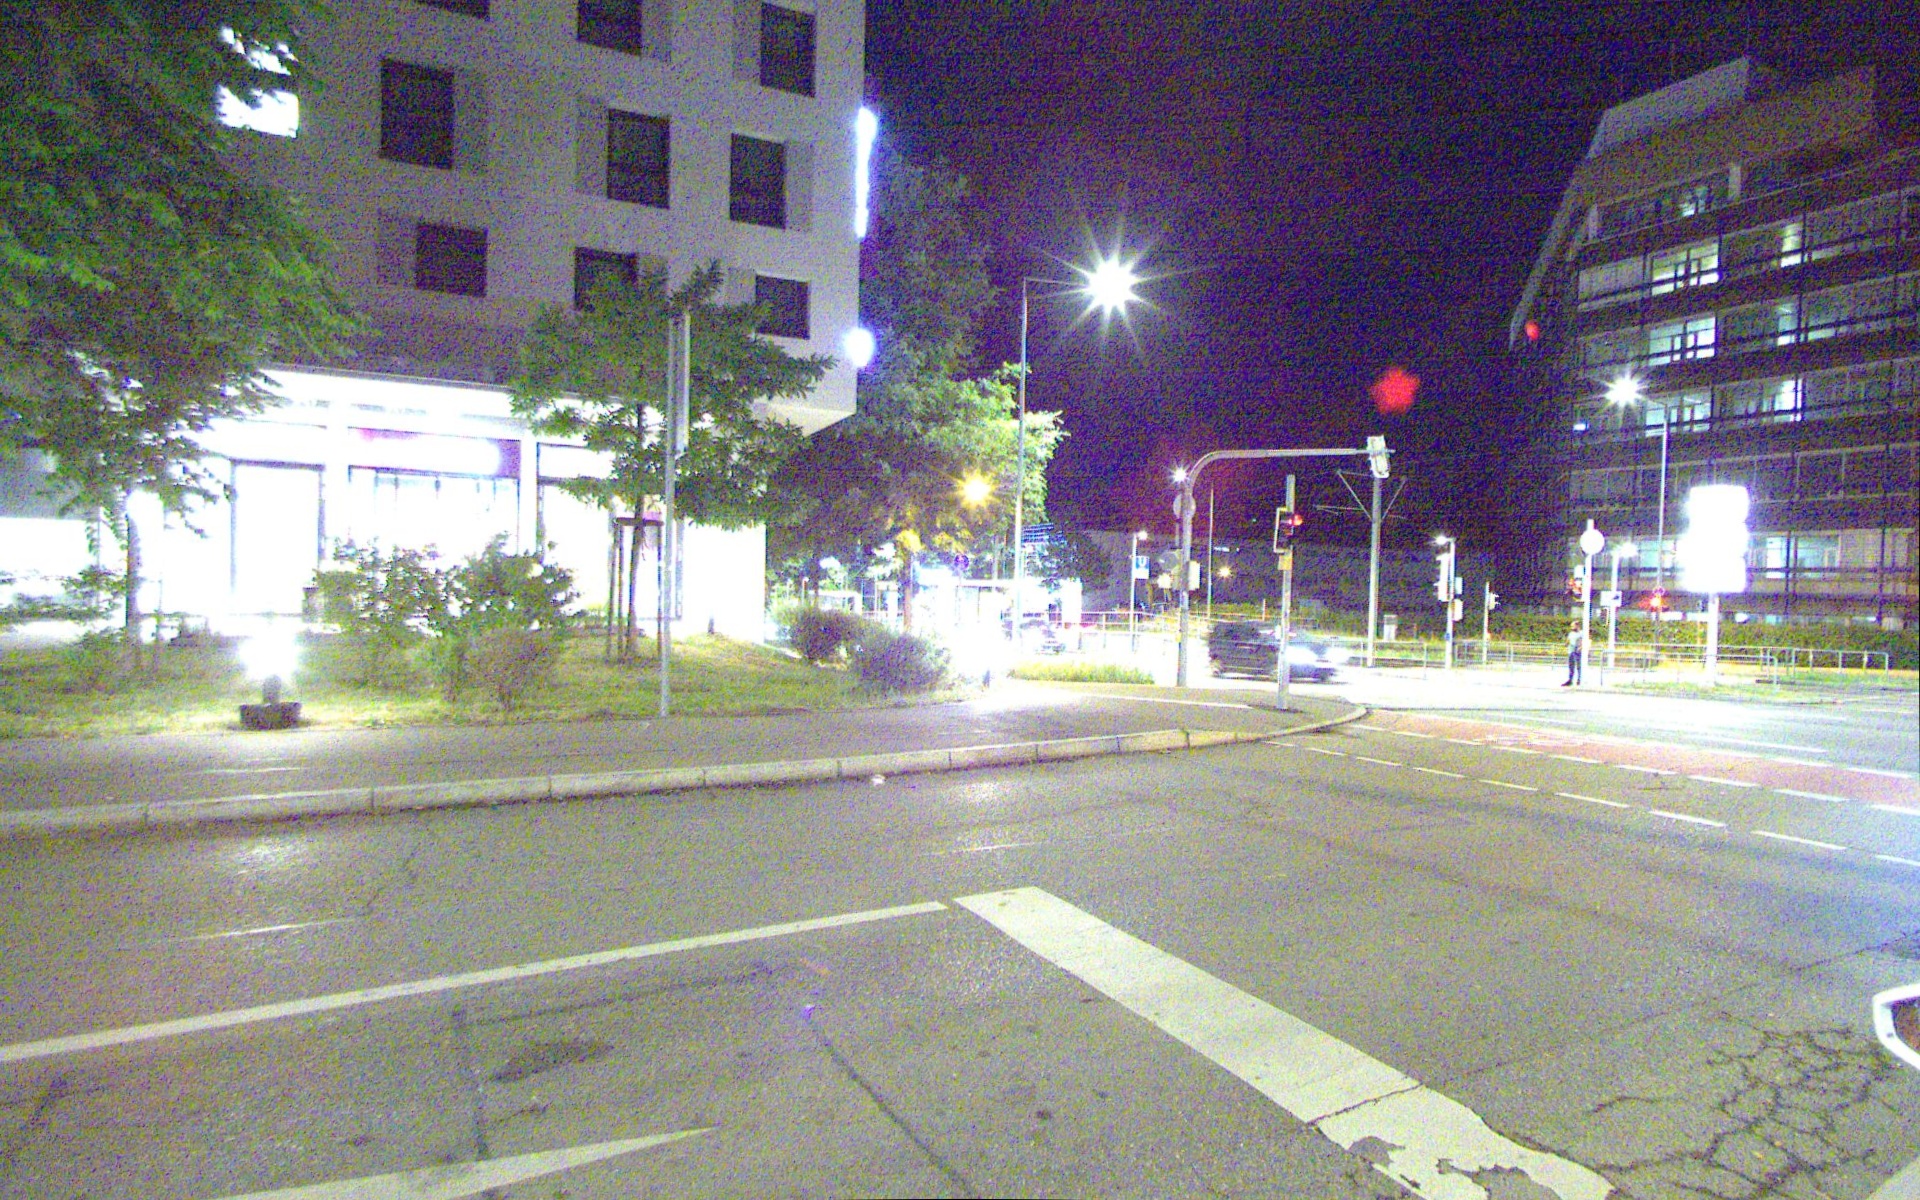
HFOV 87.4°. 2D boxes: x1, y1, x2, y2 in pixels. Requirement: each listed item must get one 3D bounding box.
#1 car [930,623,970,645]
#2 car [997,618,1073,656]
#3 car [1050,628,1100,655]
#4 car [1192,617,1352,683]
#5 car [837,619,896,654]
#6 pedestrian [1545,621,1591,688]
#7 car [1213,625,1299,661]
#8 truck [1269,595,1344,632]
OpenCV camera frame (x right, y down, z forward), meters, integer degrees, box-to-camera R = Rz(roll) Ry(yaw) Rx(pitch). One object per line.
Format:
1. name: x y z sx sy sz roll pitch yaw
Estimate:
1. car: -0.953 3.102 92.791 1.820 1.837 4.134 3 -1 -29
2. car: 3.499 1.713 47.847 1.837 1.681 4.436 0 -1 -23
3. car: 8.940 3.236 78.167 1.976 2.040 3.971 2 -3 -29
4. car: 8.575 1.378 27.970 1.787 1.673 4.328 2 -3 -27
5. car: -4.894 1.867 52.052 1.786 1.684 3.975 2 -2 -25
6. pedestrian: 15.529 1.391 25.663 0.854 1.656 0.665 2 0 -34
7. car: 16.170 2.333 55.148 1.974 1.751 4.602 2 0 -26
8. truck: 30.864 1.173 89.603 2.877 3.129 5.873 2 0 -28
